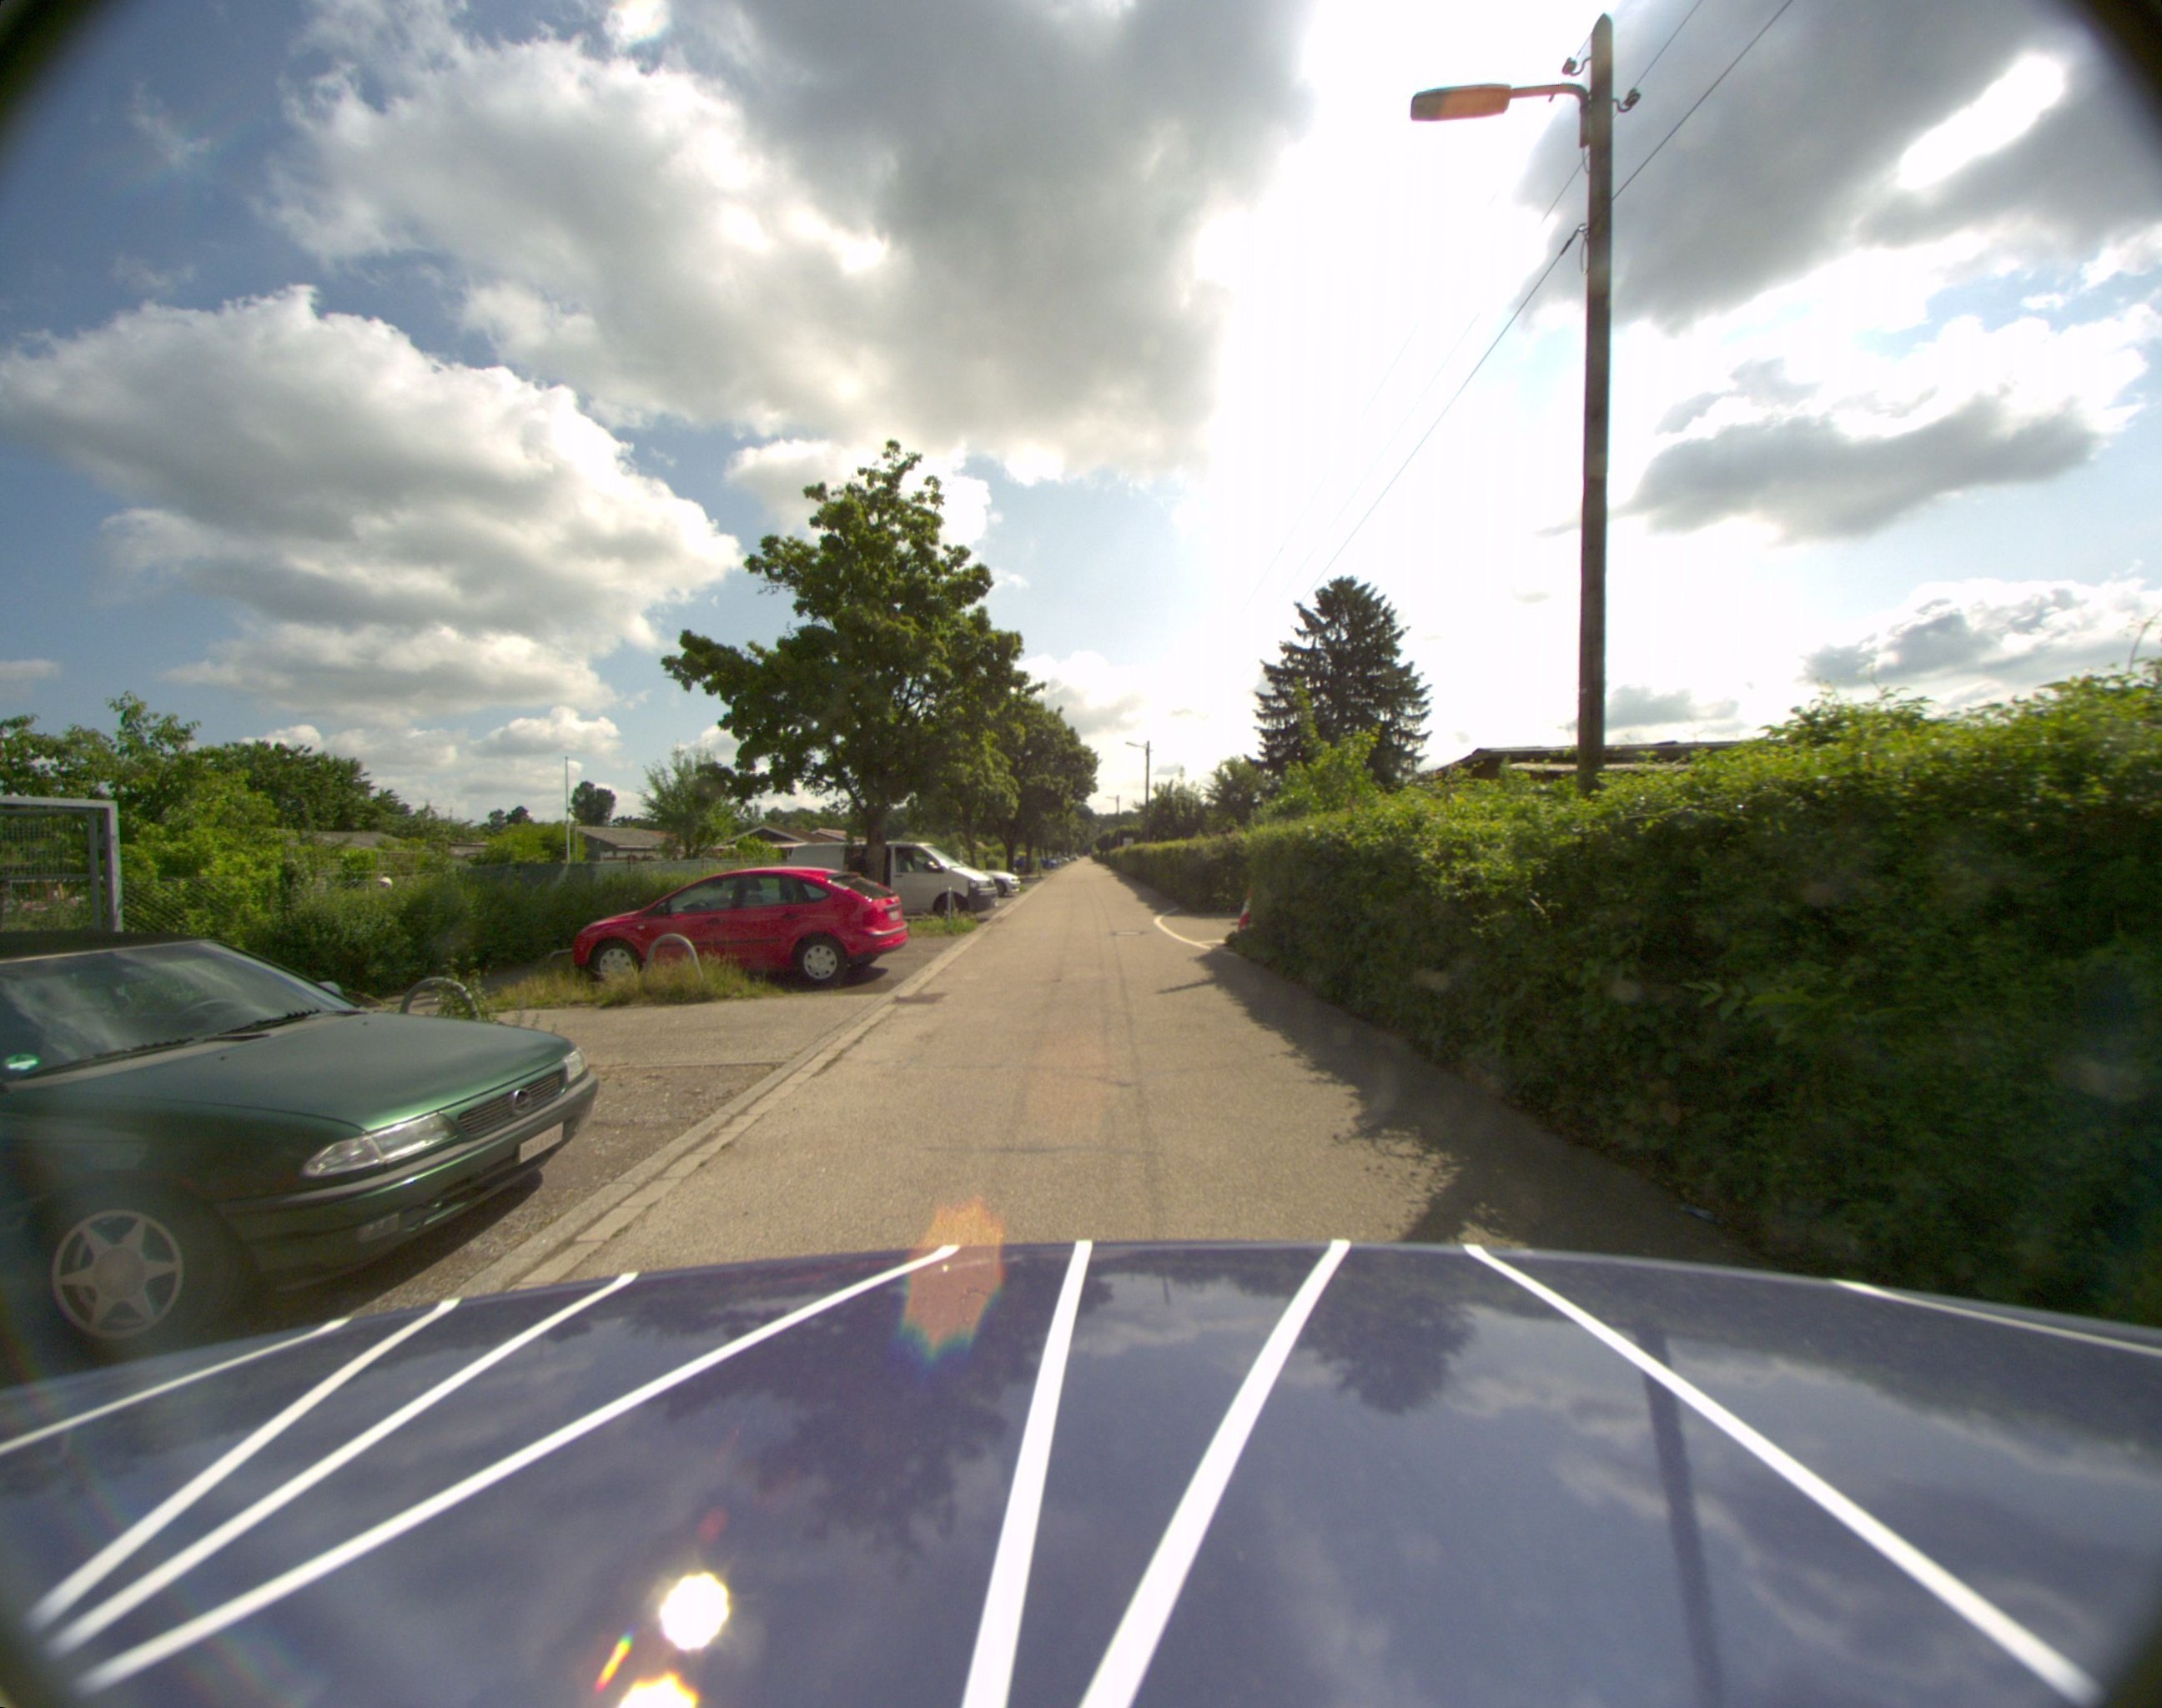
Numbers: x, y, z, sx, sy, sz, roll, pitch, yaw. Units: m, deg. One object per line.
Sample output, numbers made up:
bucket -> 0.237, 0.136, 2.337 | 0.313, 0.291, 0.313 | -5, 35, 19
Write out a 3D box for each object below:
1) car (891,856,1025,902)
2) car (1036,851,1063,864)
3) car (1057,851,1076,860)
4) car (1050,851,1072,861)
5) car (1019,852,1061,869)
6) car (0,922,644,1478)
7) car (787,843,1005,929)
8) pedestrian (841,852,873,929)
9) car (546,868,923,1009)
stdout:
car -> -4.388, 0.882, 27.690 | 4.590, 1.457, 1.999 | -2, 0, -3
car -> -4.827, 0.506, 116.421 | 3.929, 1.740, 2.000 | -3, 1, 0
car -> -3.329, 0.235, 173.577 | 3.998, 1.824, 1.999 | -3, 1, -3
car -> -3.821, 0.413, 145.030 | 3.929, 1.740, 2.000 | -3, 1, 0
car -> -4.101, 0.663, 76.352 | 4.116, 1.573, 1.780 | -1, 0, -1
car -> -4.526, 1.199, 3.122 | 4.250, 1.420, 1.907 | -3, 1, -3
car -> -4.220, 0.709, 17.984 | 4.646, 1.875, 2.111 | -1, 0, -1
pedestrian -> -4.948, 0.803, 16.813 | 0.524, 1.664, 0.474 | 0, 2, 1
car -> -4.491, 1.073, 10.342 | 4.193, 1.496, 1.878 | -3, 1, 2
